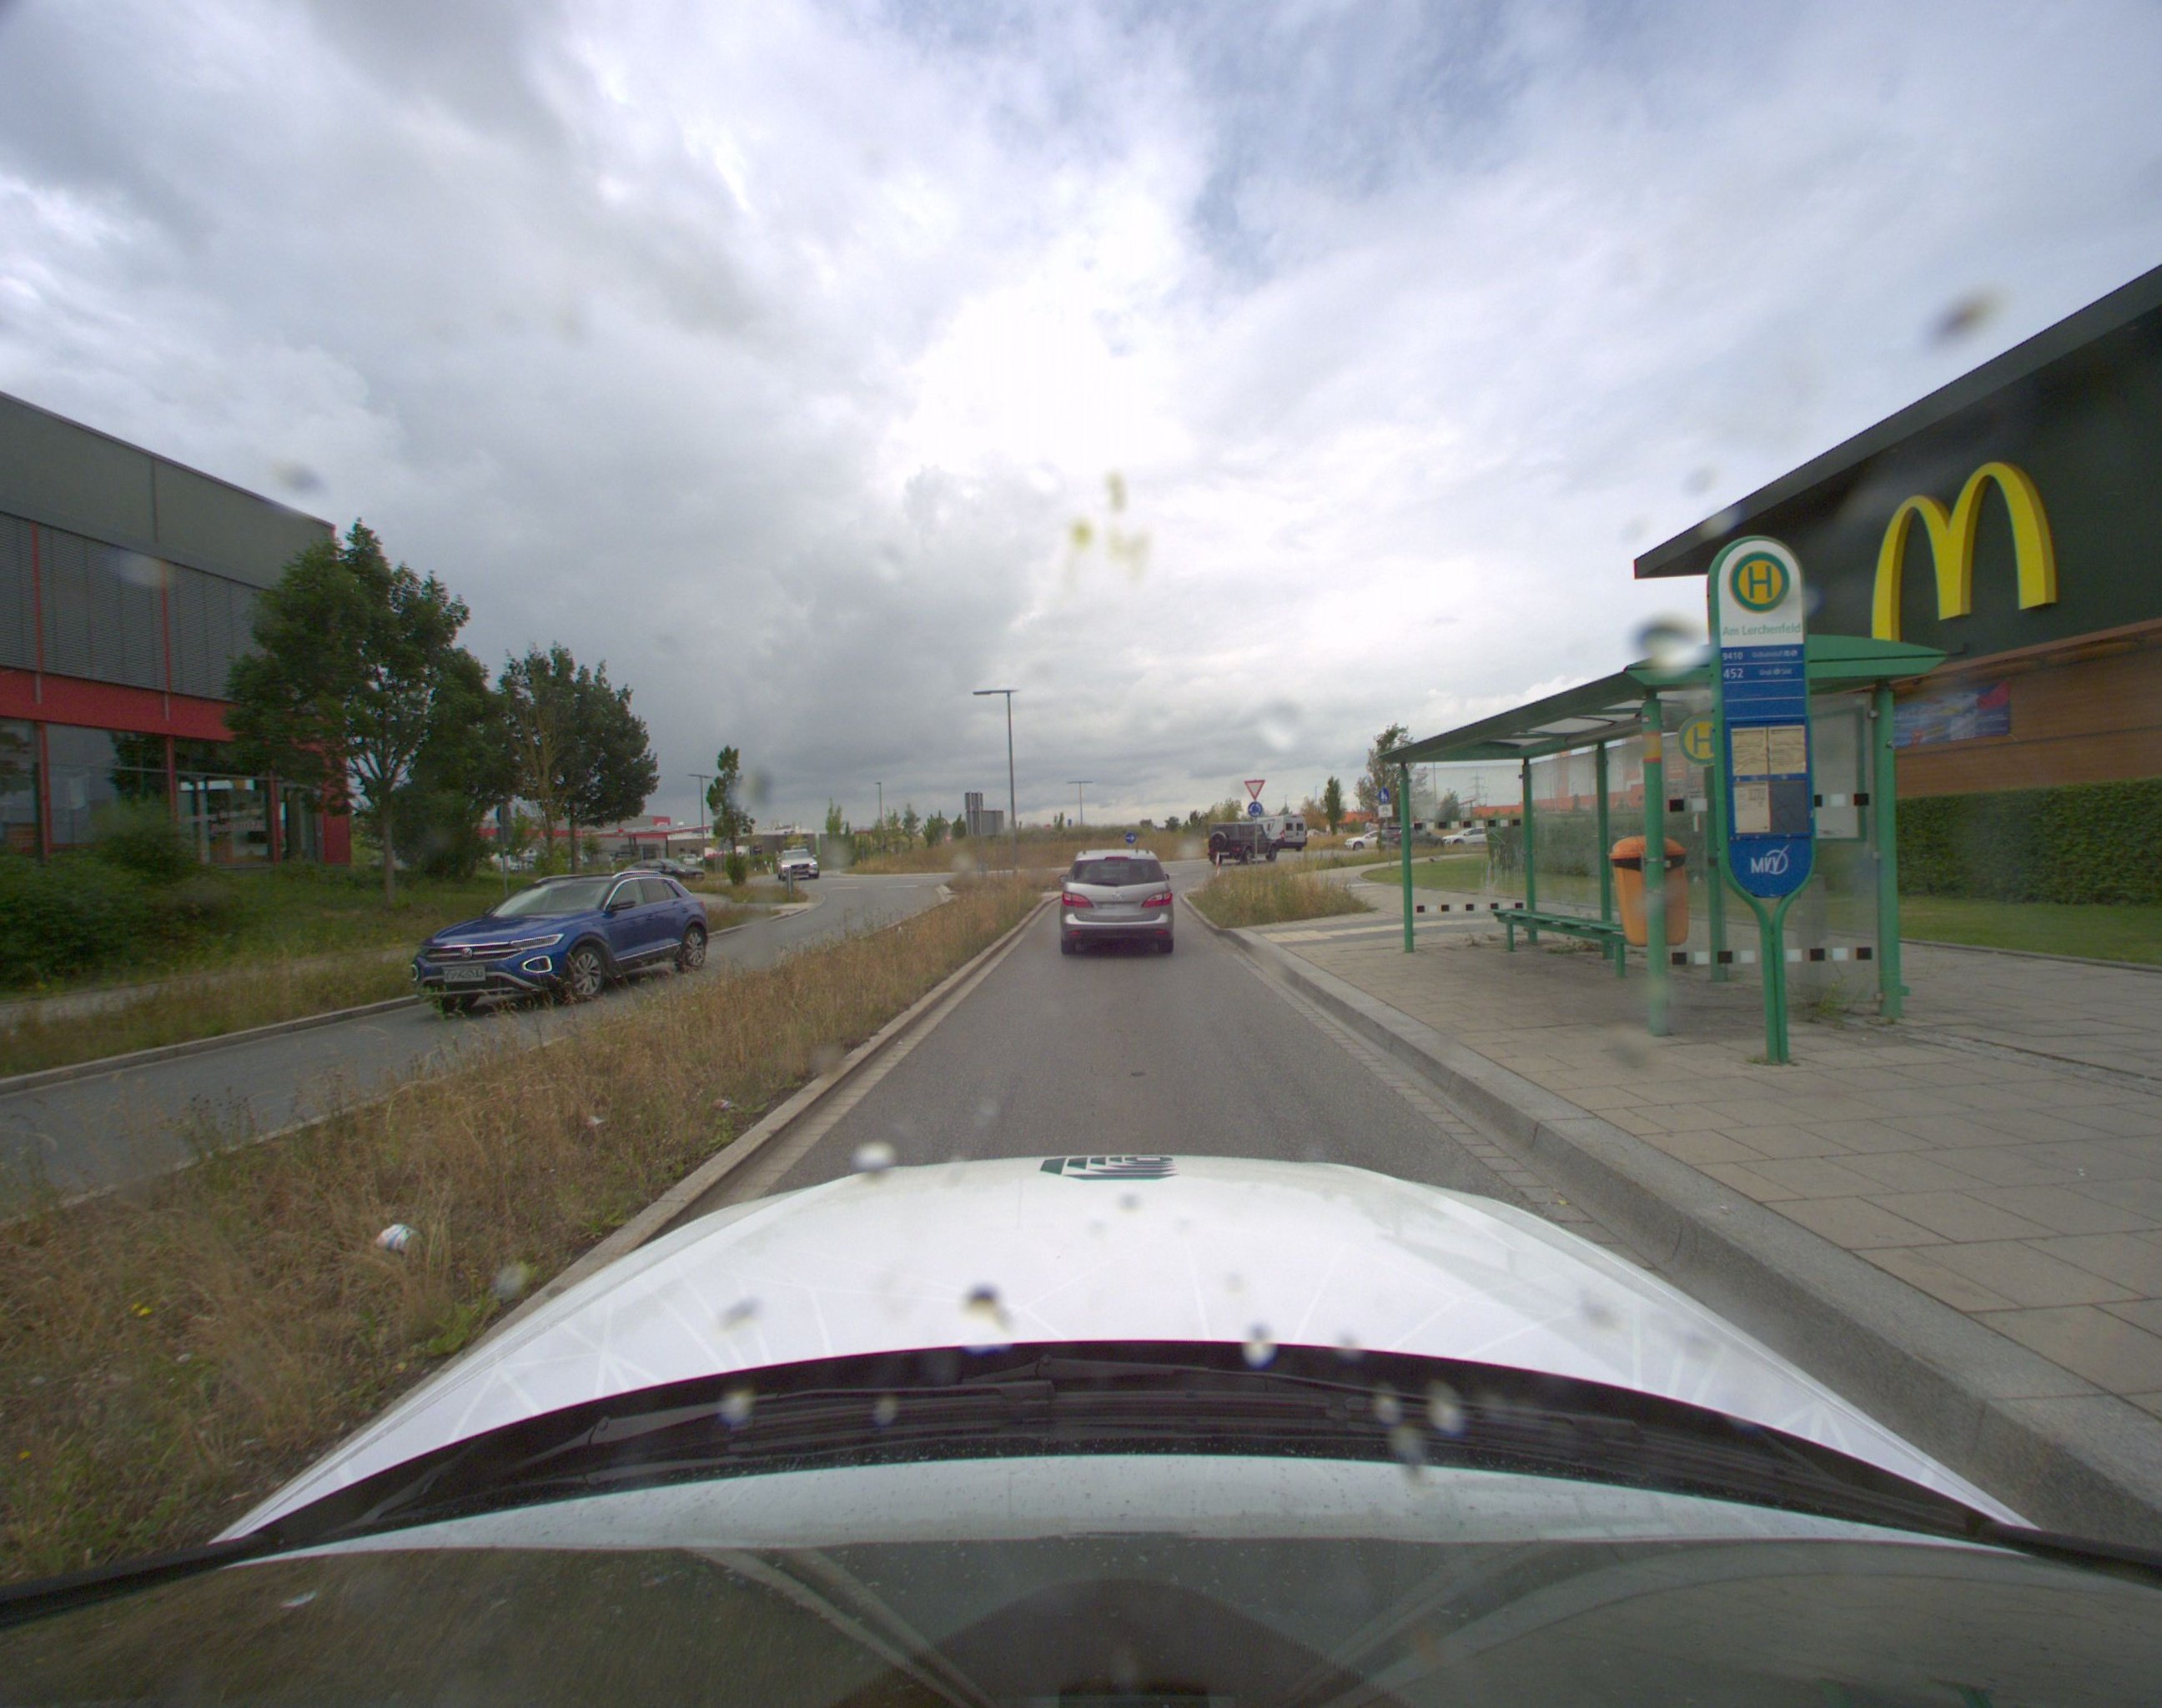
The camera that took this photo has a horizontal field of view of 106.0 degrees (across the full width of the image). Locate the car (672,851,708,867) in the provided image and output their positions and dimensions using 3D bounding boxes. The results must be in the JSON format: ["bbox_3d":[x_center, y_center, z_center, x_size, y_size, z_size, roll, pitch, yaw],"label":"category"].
[{"bbox_3d":[-53.688,0.682,111.854,3.973,2.013,2.000,-2,0,0],"label":"car"}]

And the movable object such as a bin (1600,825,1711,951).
[{"bbox_3d":[3.838,0.221,5.457,0.454,0.798,0.380,-2,0,1],"label":"movable object such as a bin"}]

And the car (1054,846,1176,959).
[{"bbox_3d":[0.533,0.682,13.616,1.723,1.600,3.808,-1,1,1],"label":"car"}]

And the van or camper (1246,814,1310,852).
[{"bbox_3d":[13.995,-1.467,58.265,2.306,2.506,5.182,-2,0,-14],"label":"van or camper"}]

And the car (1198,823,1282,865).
[{"bbox_3d":[7.685,-0.485,39.045,2.038,1.826,4.817,-2,0,36],"label":"car"}]

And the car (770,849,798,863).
[{"bbox_3d":[-40.308,0.279,110.611,1.985,1.859,4.004,-2,0,3],"label":"car"}]

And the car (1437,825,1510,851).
[{"bbox_3d":[27.182,-1.082,56.521,4.079,1.604,2.003,-2,0,4],"label":"car"}]

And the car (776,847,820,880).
[{"bbox_3d":[-15.590,0.500,44.750,2.035,1.690,4.182,-2,0,-22],"label":"car"}]

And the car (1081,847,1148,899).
[{"bbox_3d":[1.092,0.523,25.226,1.836,1.418,4.229,-2,0,4],"label":"car"}]

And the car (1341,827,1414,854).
[{"bbox_3d":[20.794,-0.941,57.282,4.571,1.757,2.007,-2,0,12],"label":"car"}]

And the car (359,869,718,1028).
[{"bbox_3d":[-6.765,1.049,10.856,1.835,1.528,4.228,-4,0,0],"label":"car"}]

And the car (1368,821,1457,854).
[{"bbox_3d":[18.754,-0.920,46.133,4.192,1.592,2.057,-3,1,-11],"label":"car"}]

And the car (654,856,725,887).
[{"bbox_3d":[-20.246,0.893,42.040,4.357,1.484,1.792,-1,0,43],"label":"car"}]
